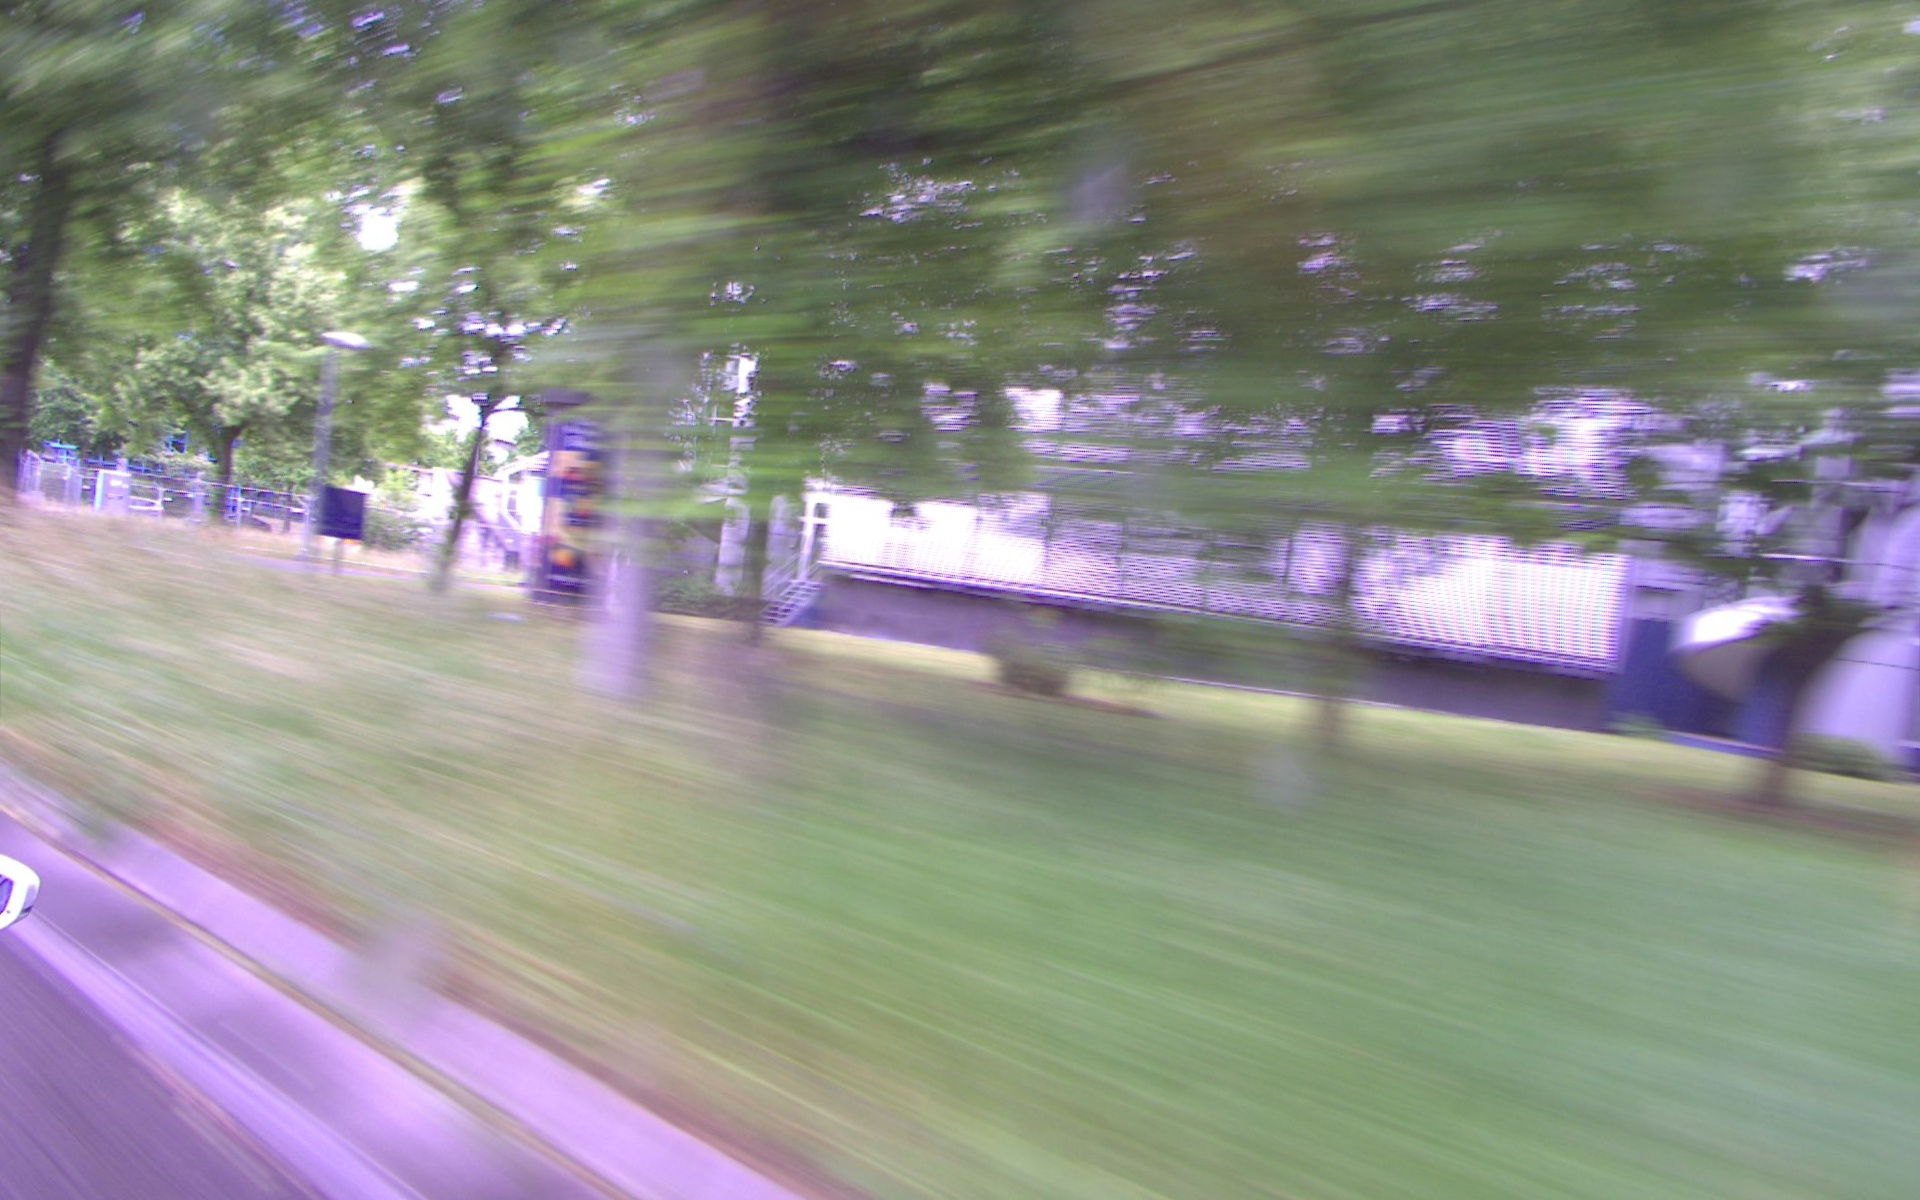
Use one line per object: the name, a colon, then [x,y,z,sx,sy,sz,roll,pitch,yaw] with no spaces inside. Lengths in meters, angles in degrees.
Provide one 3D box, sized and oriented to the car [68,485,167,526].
car: [-49.451,-5.535,59.122,1.730,1.662,4.097,10,2,36]
